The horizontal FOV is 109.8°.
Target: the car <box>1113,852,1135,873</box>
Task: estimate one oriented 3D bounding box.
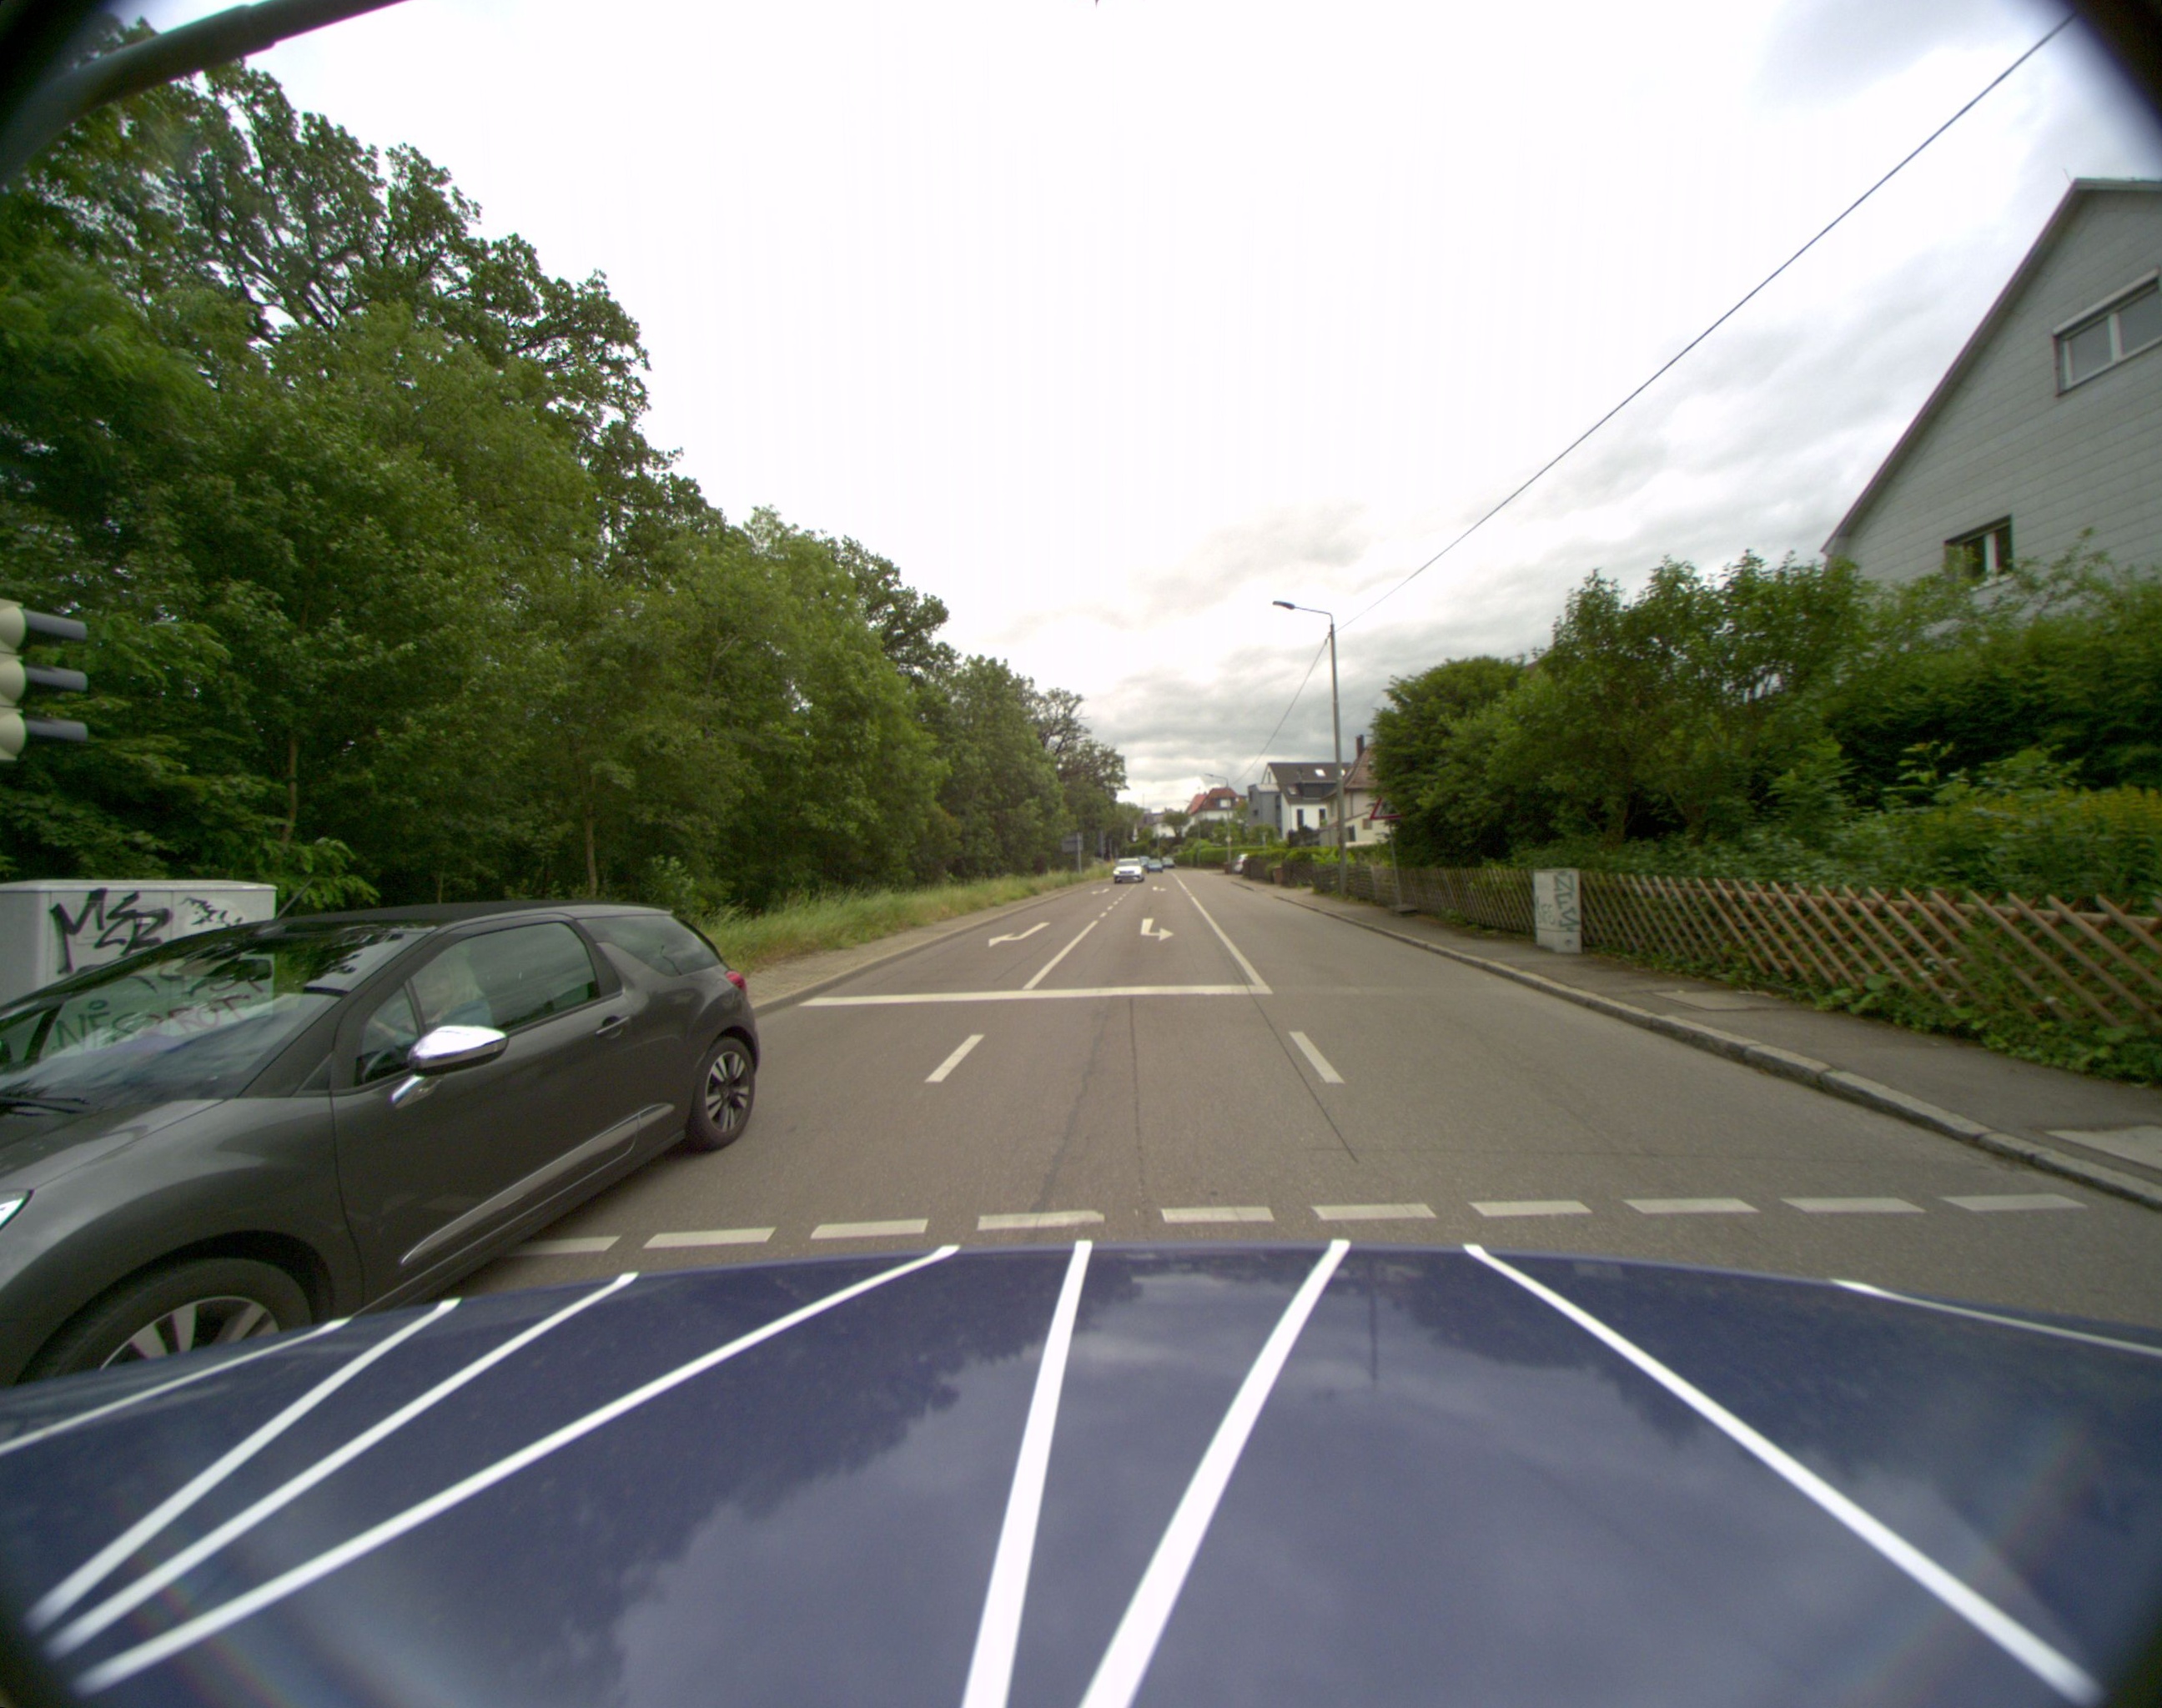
[{"bbox_3d":[4.374,0.833,76.378,1.998,2.002,4.002,-2,0,6],"label":"car"}]

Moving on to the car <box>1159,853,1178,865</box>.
[{"bbox_3d":[12.052,0.665,105.141,1.840,1.514,3.998,-2,0,-4],"label":"car"}]

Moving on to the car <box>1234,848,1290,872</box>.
[{"bbox_3d":[14.107,0.469,59.306,3.995,1.584,1.719,-4,0,6],"label":"car"}]

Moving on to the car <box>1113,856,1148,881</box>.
[{"bbox_3d":[3.392,0.949,51.504,1.997,1.565,4.002,-3,0,8],"label":"car"}]

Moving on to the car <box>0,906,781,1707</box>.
[{"bbox_3d":[-2.970,1.094,2.932,1.729,1.449,3.857,-3,0,6],"label":"car"}]

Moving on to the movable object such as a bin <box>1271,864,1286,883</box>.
[{"bbox_3d":[9.752,0.970,37.556,0.634,0.907,0.561,-3,0,16],"label":"movable object such as a bin"}]

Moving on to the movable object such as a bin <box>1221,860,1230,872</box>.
[{"bbox_3d":[11.882,1.009,62.520,0.689,0.948,0.572,-2,0,4],"label":"movable object such as a bin"}]
